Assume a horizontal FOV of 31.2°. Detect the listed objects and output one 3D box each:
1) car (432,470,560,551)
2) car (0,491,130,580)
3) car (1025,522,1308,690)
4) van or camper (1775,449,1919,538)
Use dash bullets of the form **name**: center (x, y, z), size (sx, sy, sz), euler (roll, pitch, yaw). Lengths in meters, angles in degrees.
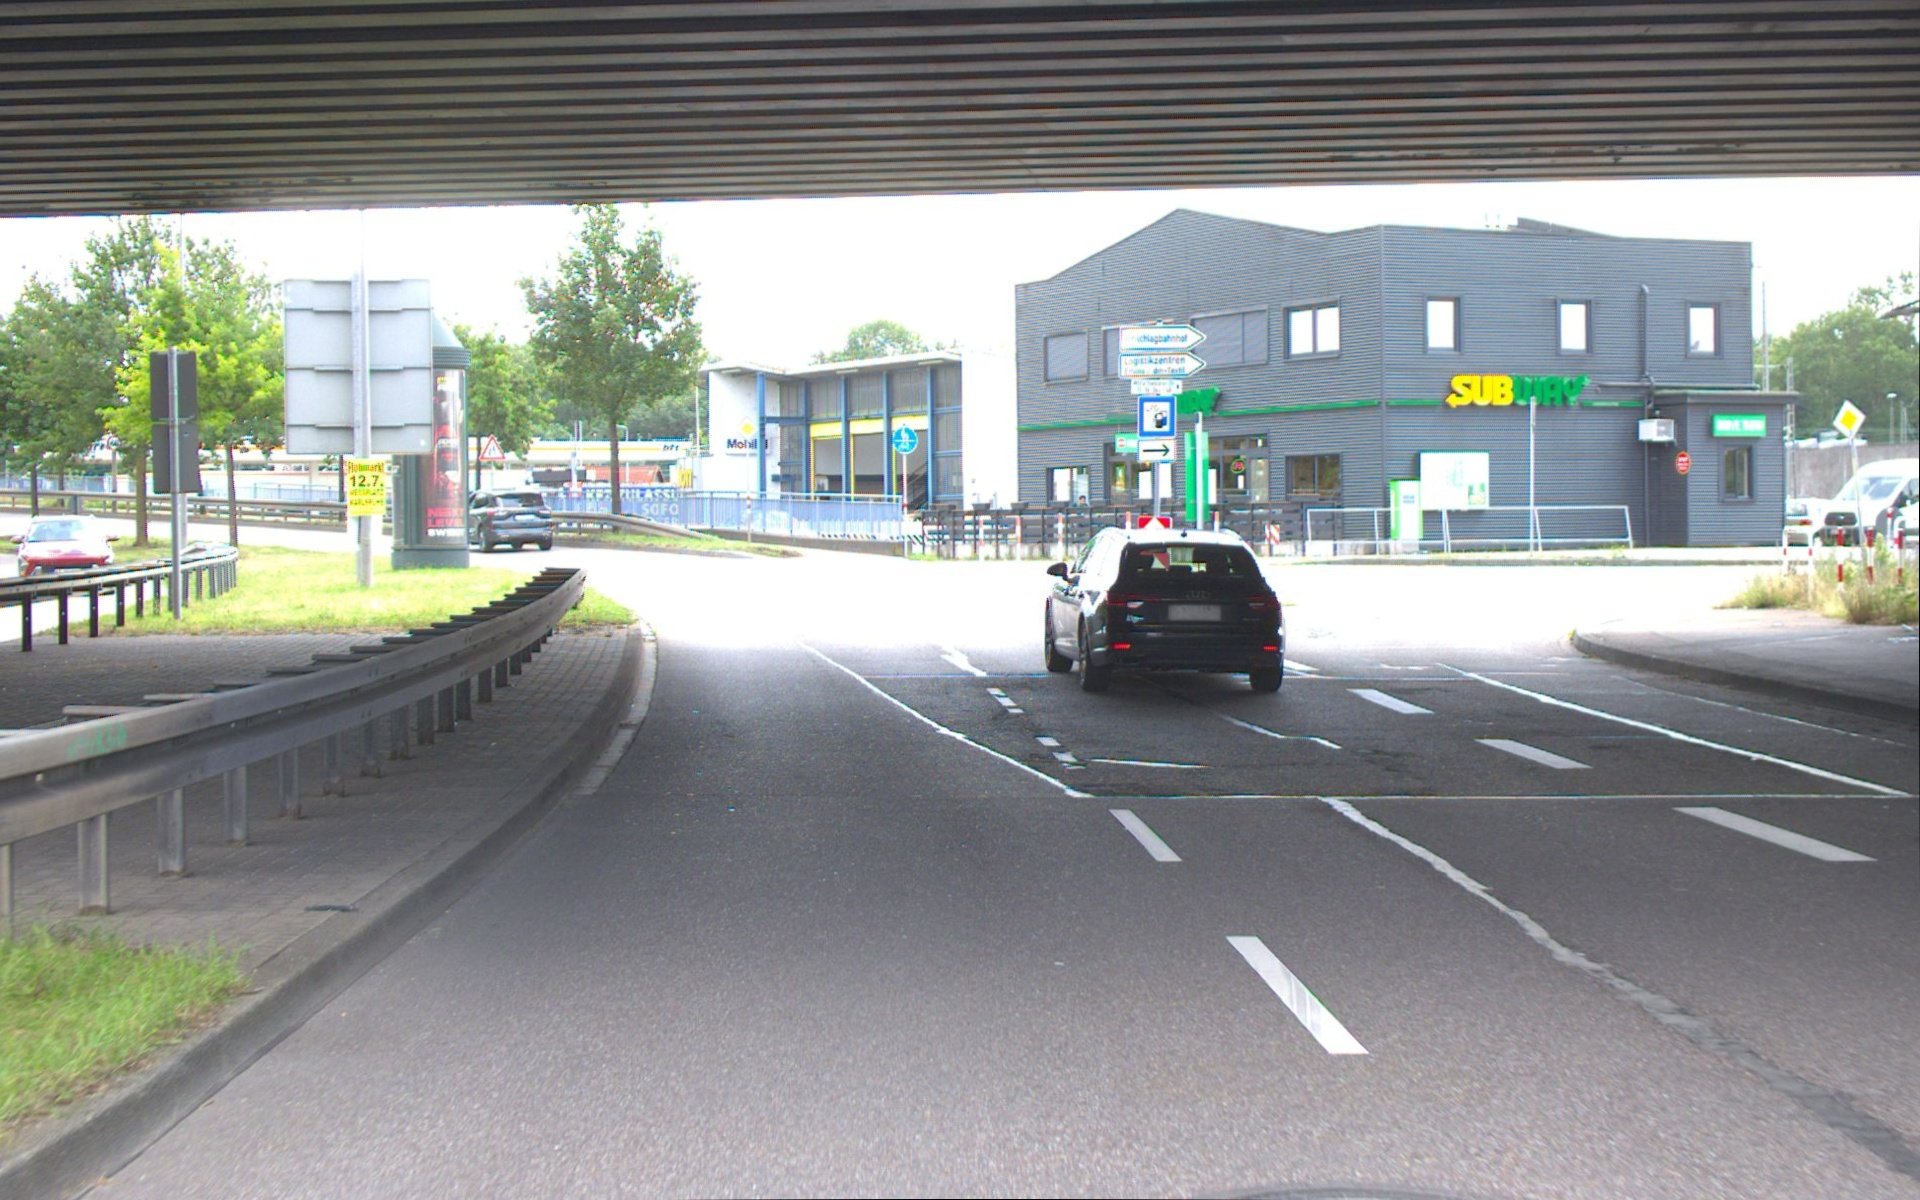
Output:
- **car**: center (-12.194, -2.316, 90.108), size (1.993, 2.030, 4.714), euler (-1, 1, -25)
- **car**: center (-17.696, -1.287, 68.069), size (1.993, 1.669, 4.324), euler (-1, 1, -8)
- **car**: center (1.821, 0.000, 31.871), size (1.993, 1.385, 4.577), euler (1, 2, -4)
- **van or camper**: center (23.901, -2.710, 88.606), size (6.229, 2.165, 2.126), euler (0, 1, -37)
